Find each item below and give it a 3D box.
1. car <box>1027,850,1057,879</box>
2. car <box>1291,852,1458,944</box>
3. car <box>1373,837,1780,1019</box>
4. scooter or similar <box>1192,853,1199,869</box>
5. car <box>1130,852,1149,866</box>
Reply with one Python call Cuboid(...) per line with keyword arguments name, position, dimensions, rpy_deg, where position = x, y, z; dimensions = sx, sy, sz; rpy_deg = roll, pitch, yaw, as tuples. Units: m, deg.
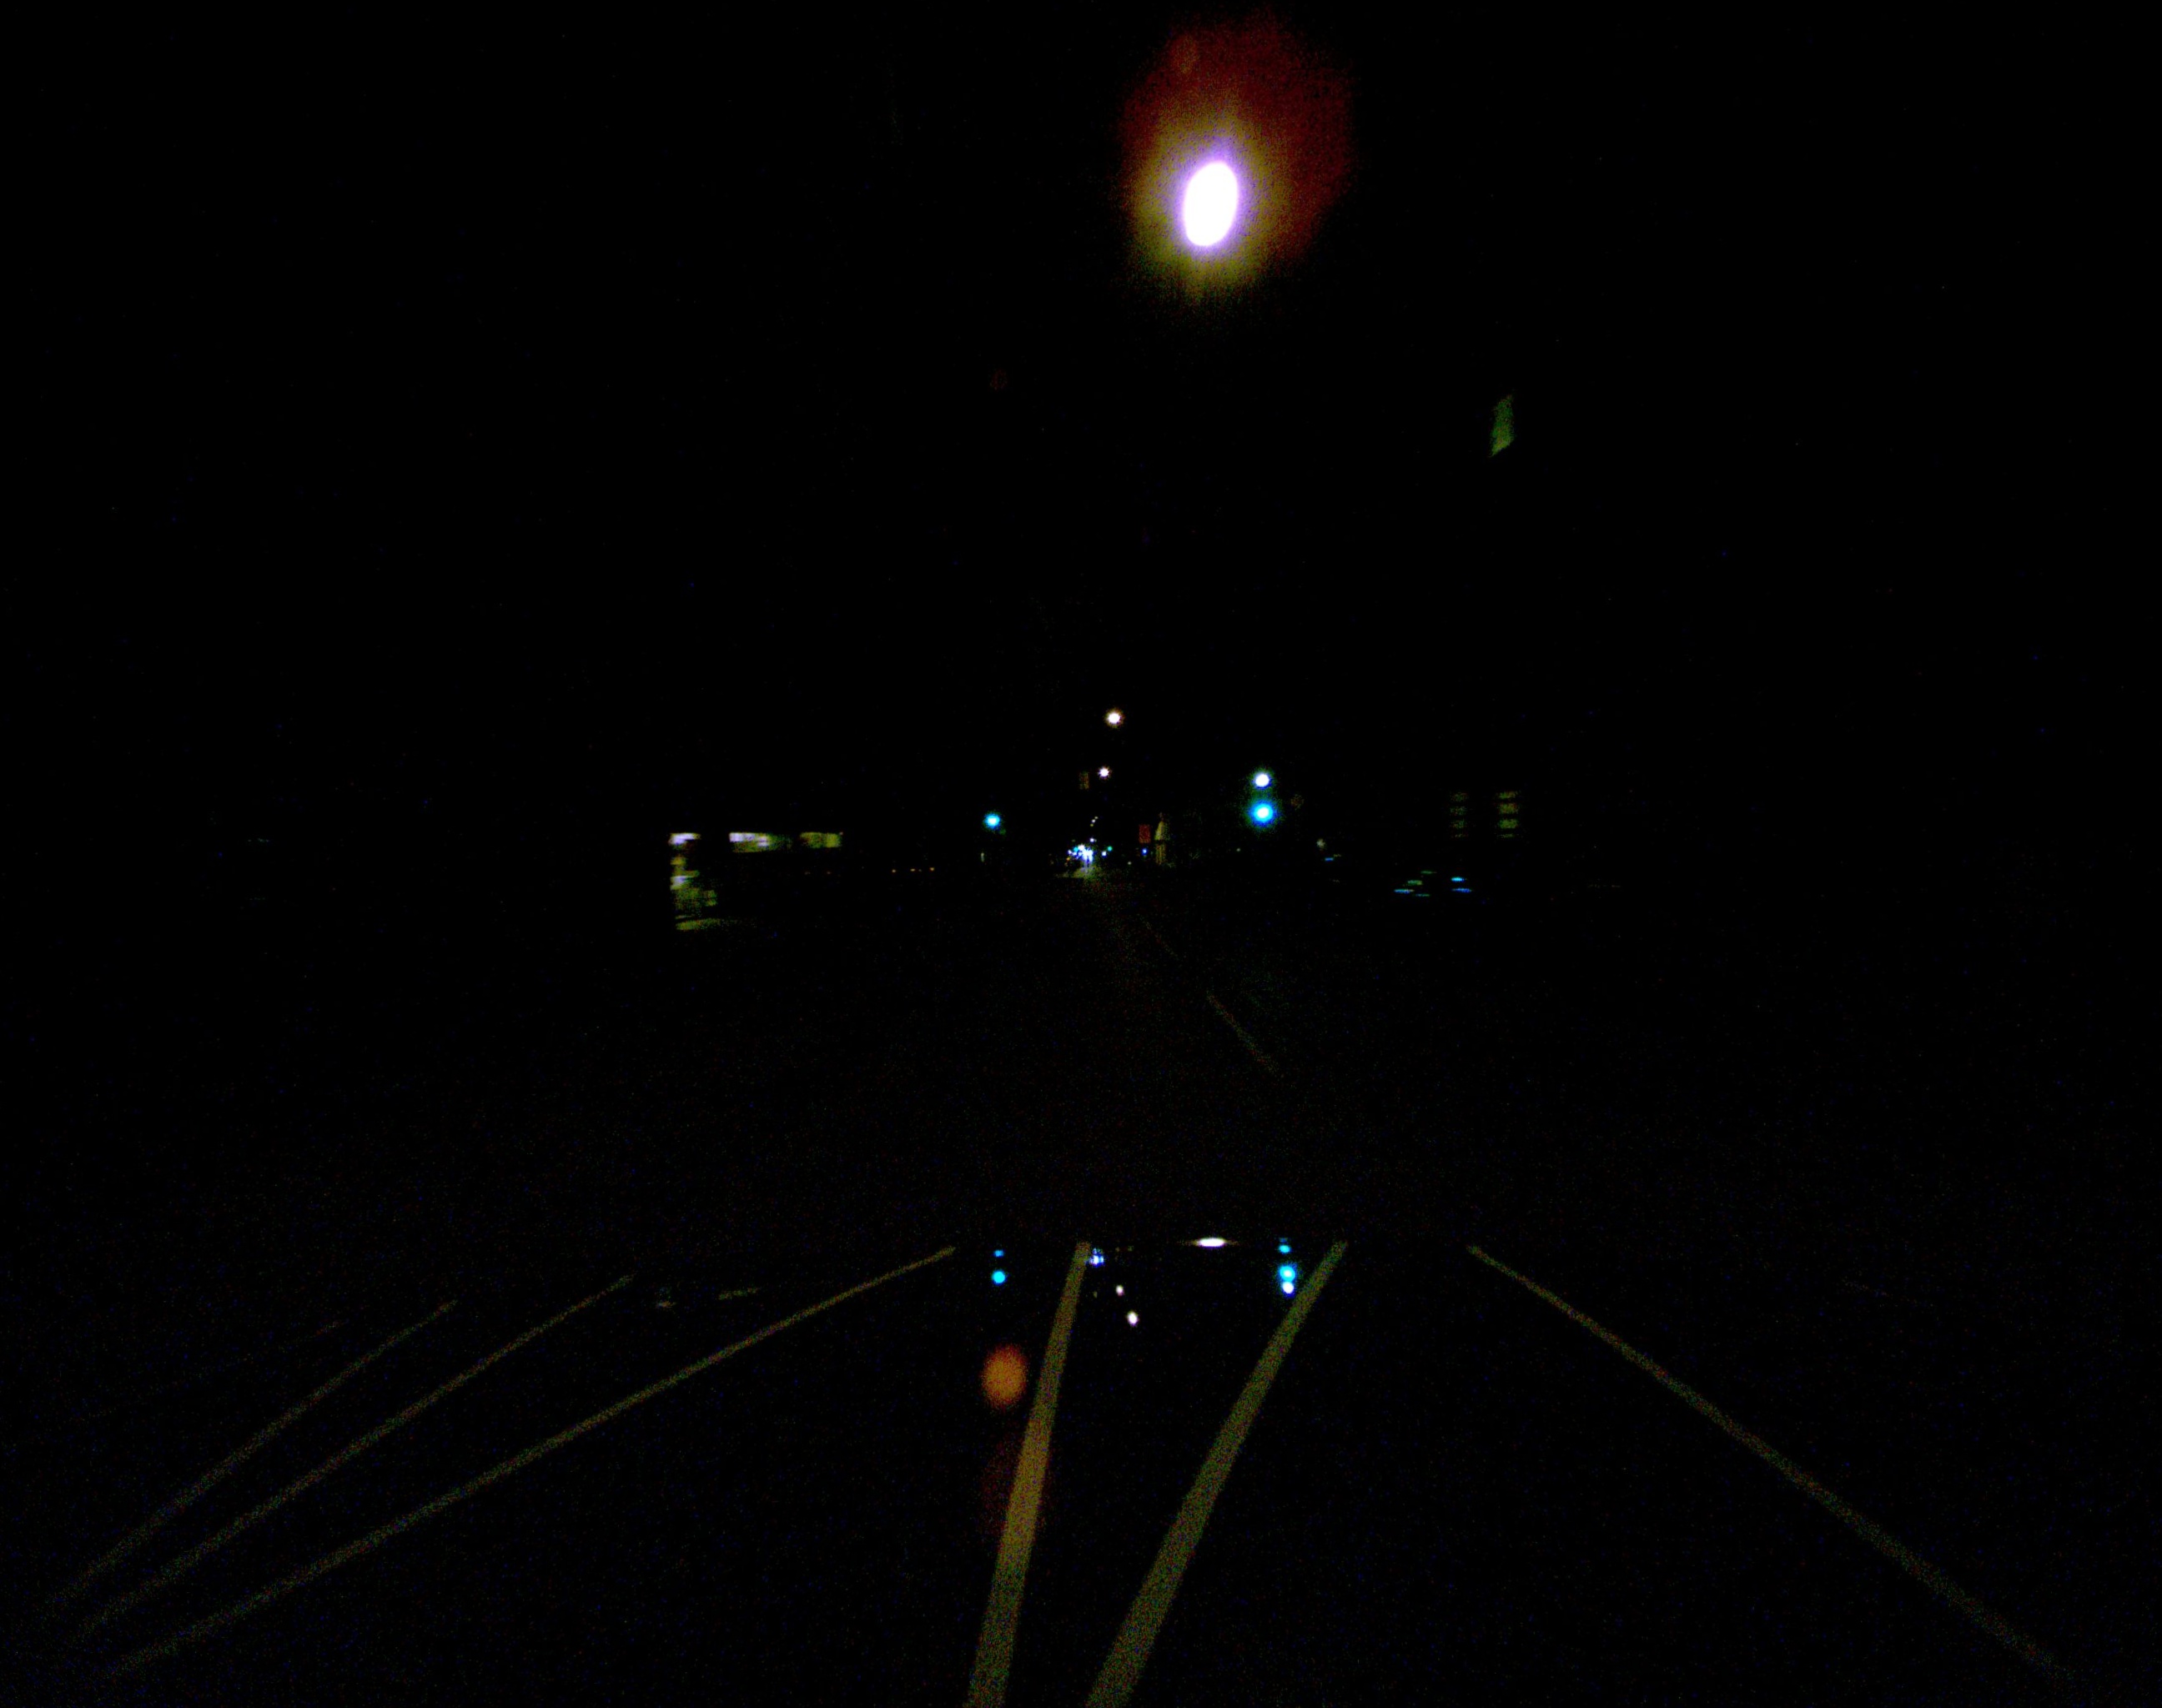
Cuboid(name="car", position=(-2.596, 0.674, 51.744), dimensions=(1.916, 1.816, 4.899), rpy_deg=(-2, 0, -2))
Cuboid(name="car", position=(5.599, 0.754, 14.981), dimensions=(1.652, 1.506, 3.701), rpy_deg=(-3, 1, -3))
Cuboid(name="car", position=(5.638, 0.726, 9.576), dimensions=(1.853, 1.640, 4.670), rpy_deg=(-3, 0, -3))
Cuboid(name="scooter or similar", position=(9.160, 0.567, 60.952), dimensions=(0.332, 1.218, 1.335), rpy_deg=(-3, 1, 3))
Cuboid(name="car", position=(6.608, 0.603, 86.600), dimensions=(1.731, 1.477, 4.291), rpy_deg=(-3, 0, 0))
